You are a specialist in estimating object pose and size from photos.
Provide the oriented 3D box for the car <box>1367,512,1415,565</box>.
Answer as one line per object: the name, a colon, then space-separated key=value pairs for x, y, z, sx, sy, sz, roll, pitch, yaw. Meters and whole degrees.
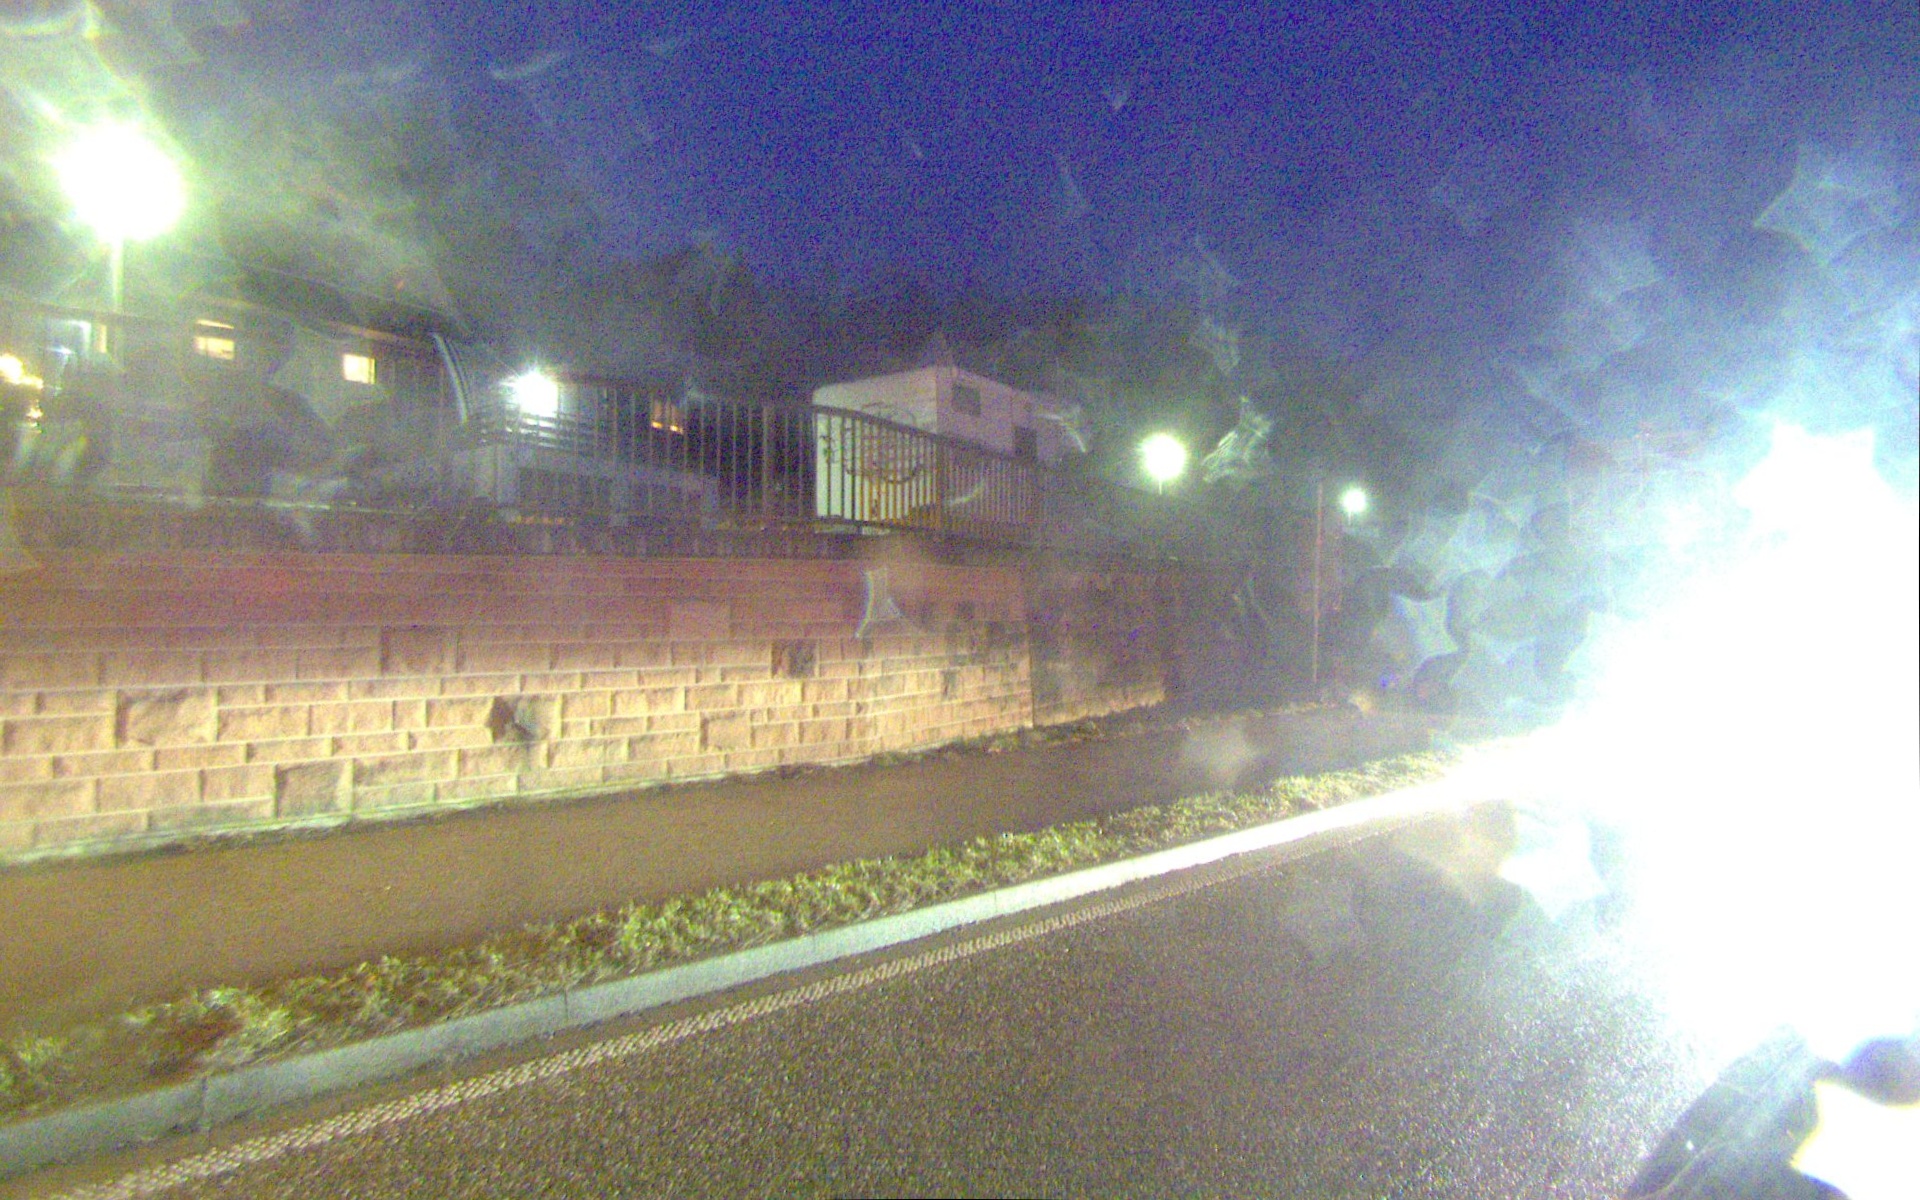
car: x=25.072 y=-3.521 z=58.748 sx=1.922 sy=2.809 sz=4.206 roll=0 pitch=0 yaw=32

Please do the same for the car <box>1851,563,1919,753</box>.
car: x=11.249 y=0.513 z=10.004 sx=4.839 sy=1.757 sz=1.844 roll=-1 pitch=0 yaw=-25

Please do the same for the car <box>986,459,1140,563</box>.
car: x=2.447 y=-1.925 z=23.243 sx=1.985 sy=2.039 sz=3.954 roll=0 pitch=0 yaw=32

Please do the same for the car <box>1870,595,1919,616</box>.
car: x=93.428 y=0.513 z=100.516 sx=1.958 sy=2.039 sz=4.008 roll=0 pitch=0 yaw=-18

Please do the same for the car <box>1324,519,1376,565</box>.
car: x=19.230 y=-2.808 z=49.806 sx=1.721 sy=2.039 sz=3.658 roll=0 pitch=0 yaw=32

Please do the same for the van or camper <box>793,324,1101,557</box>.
van or camper: x=0.081 y=-2.203 z=16.232 sx=2.394 sy=2.828 sz=5.712 roll=0 pitch=0 yaw=30

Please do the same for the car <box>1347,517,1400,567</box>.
car: x=22.206 y=-3.073 z=54.223 sx=1.922 sy=2.451 sz=4.206 roll=0 pitch=0 yaw=32
